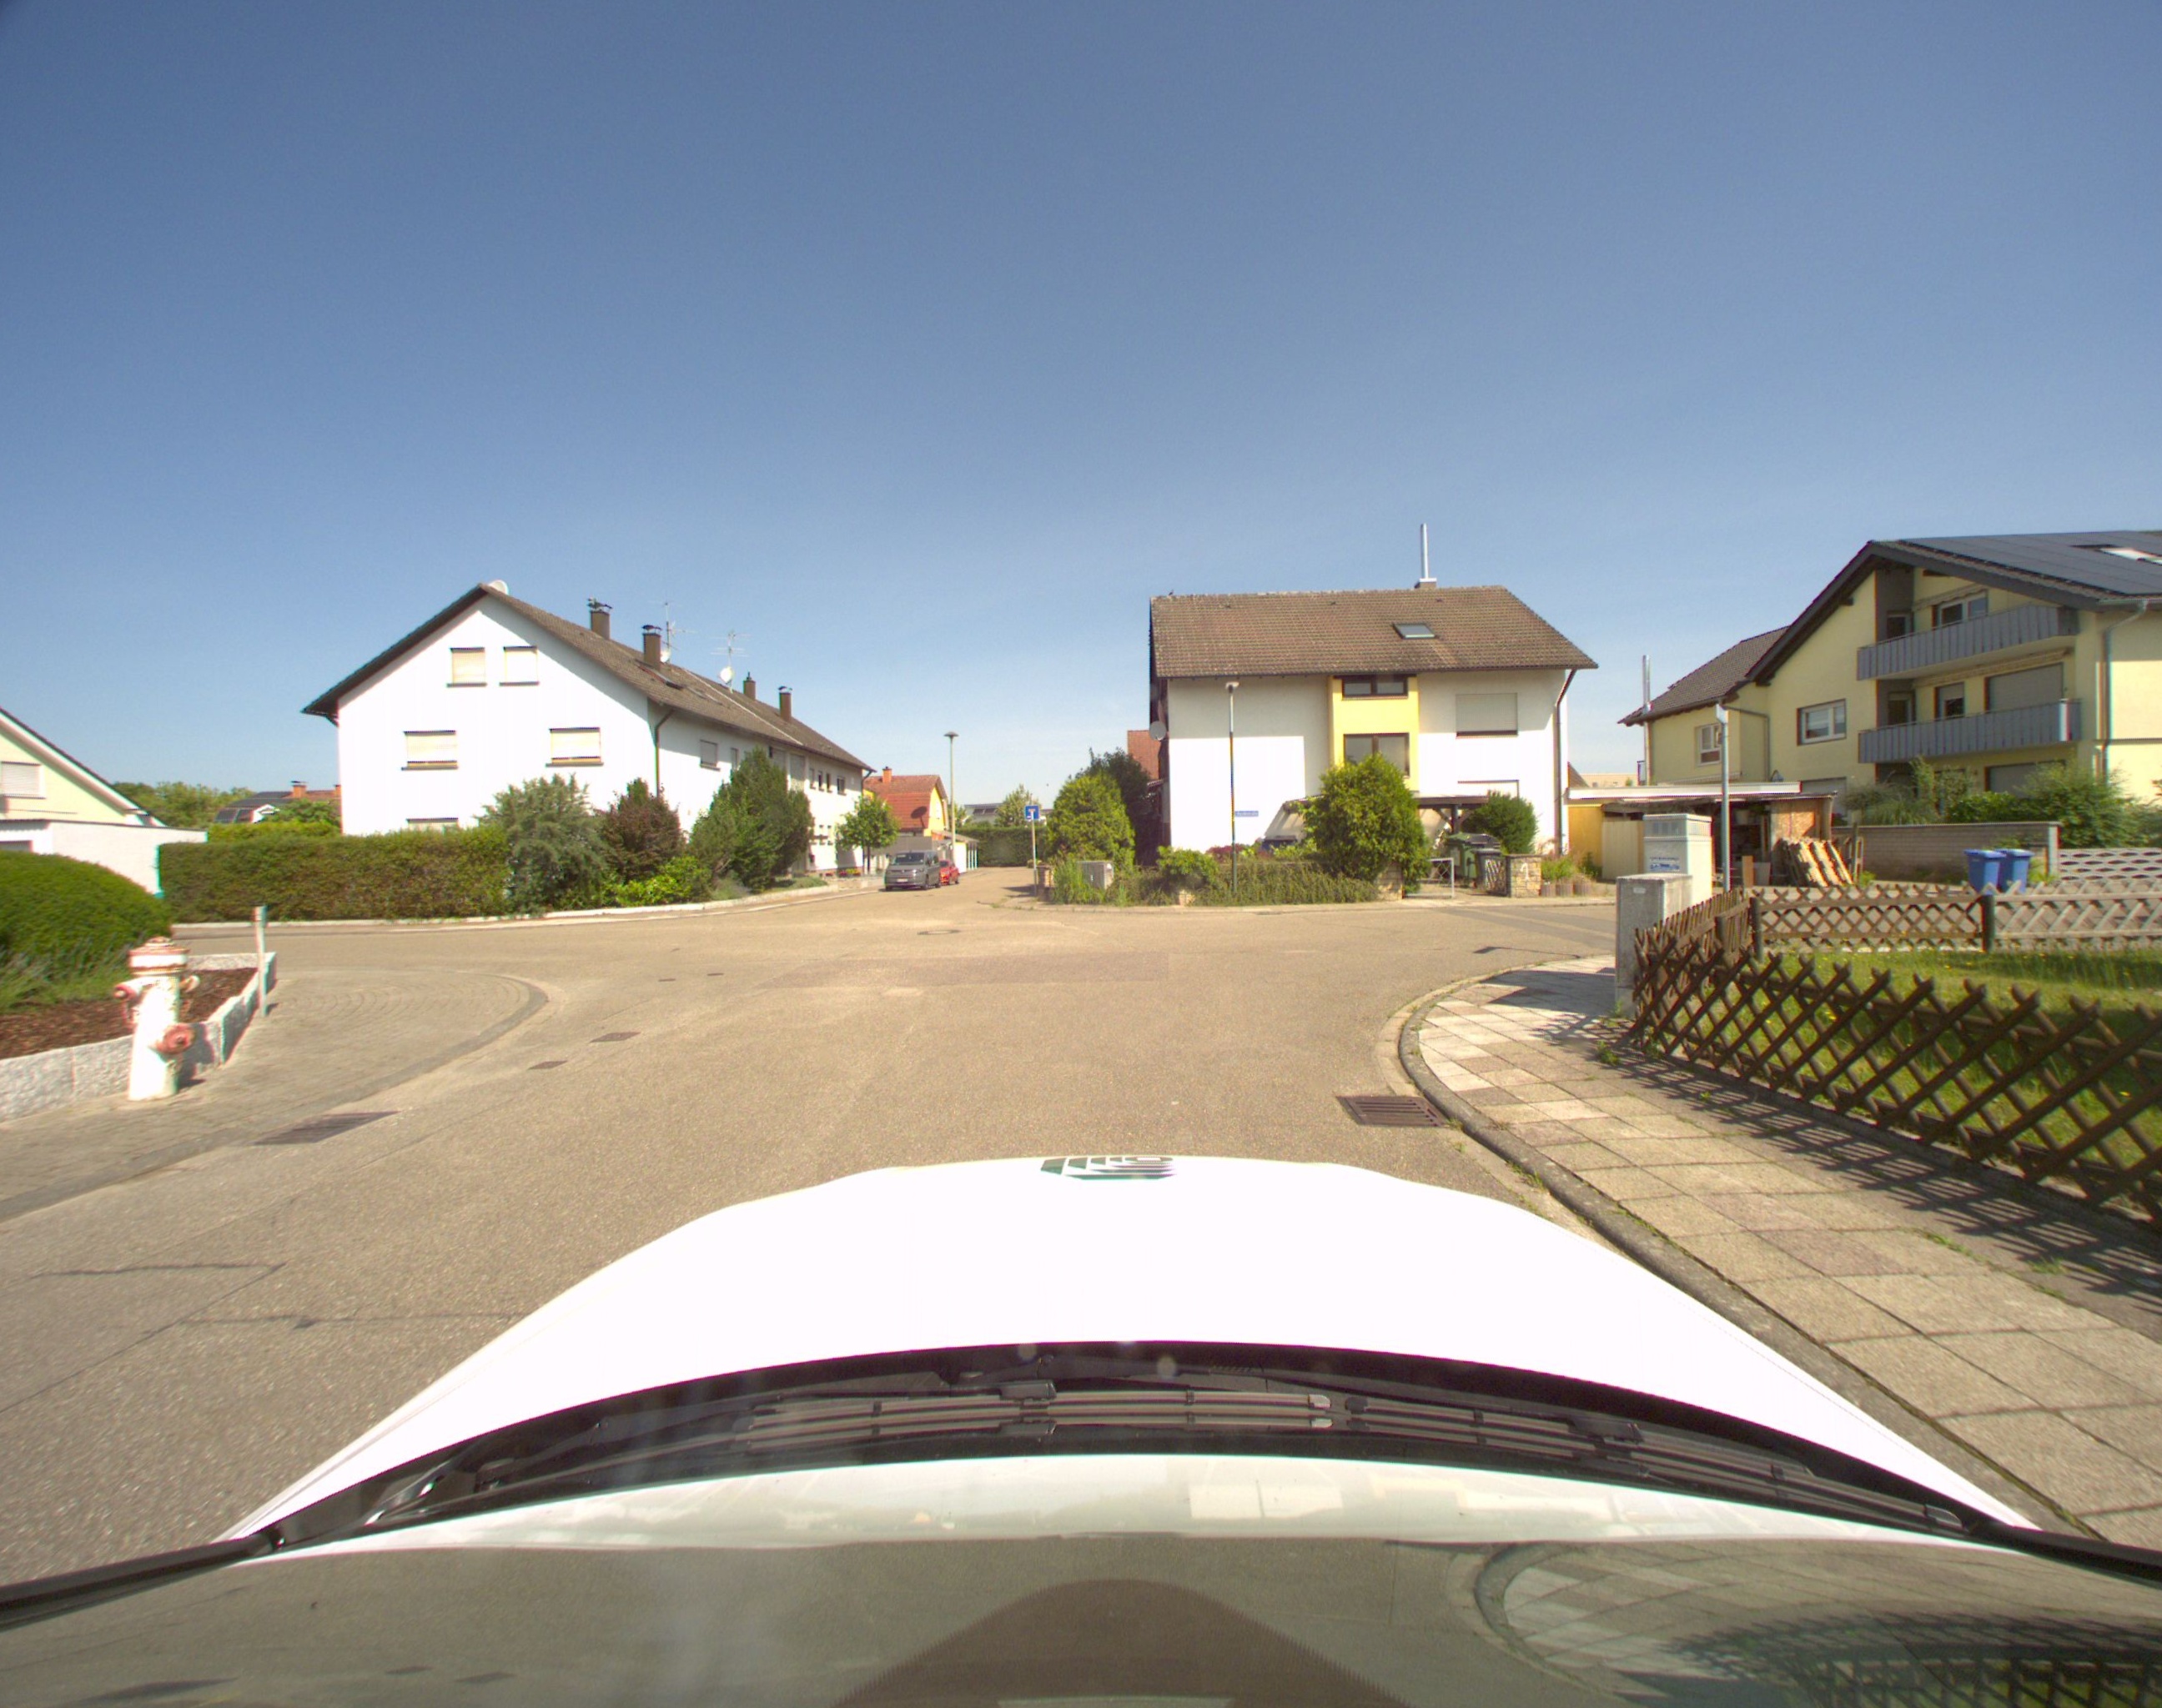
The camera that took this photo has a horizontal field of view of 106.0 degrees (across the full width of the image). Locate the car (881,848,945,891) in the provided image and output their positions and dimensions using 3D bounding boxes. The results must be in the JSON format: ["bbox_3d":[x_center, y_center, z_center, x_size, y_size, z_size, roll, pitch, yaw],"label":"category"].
[{"bbox_3d":[-7.984,0.700,39.043,1.893,1.869,4.375,-1,0,3],"label":"car"}]

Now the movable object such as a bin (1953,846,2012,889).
[{"bbox_3d":[19.436,0.287,17.571,0.594,0.916,0.585,-1,0,2],"label":"movable object such as a bin"}]

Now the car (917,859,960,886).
[{"bbox_3d":[-7.923,1.020,45.562,1.646,1.365,3.779,-1,0,0],"label":"car"}]
